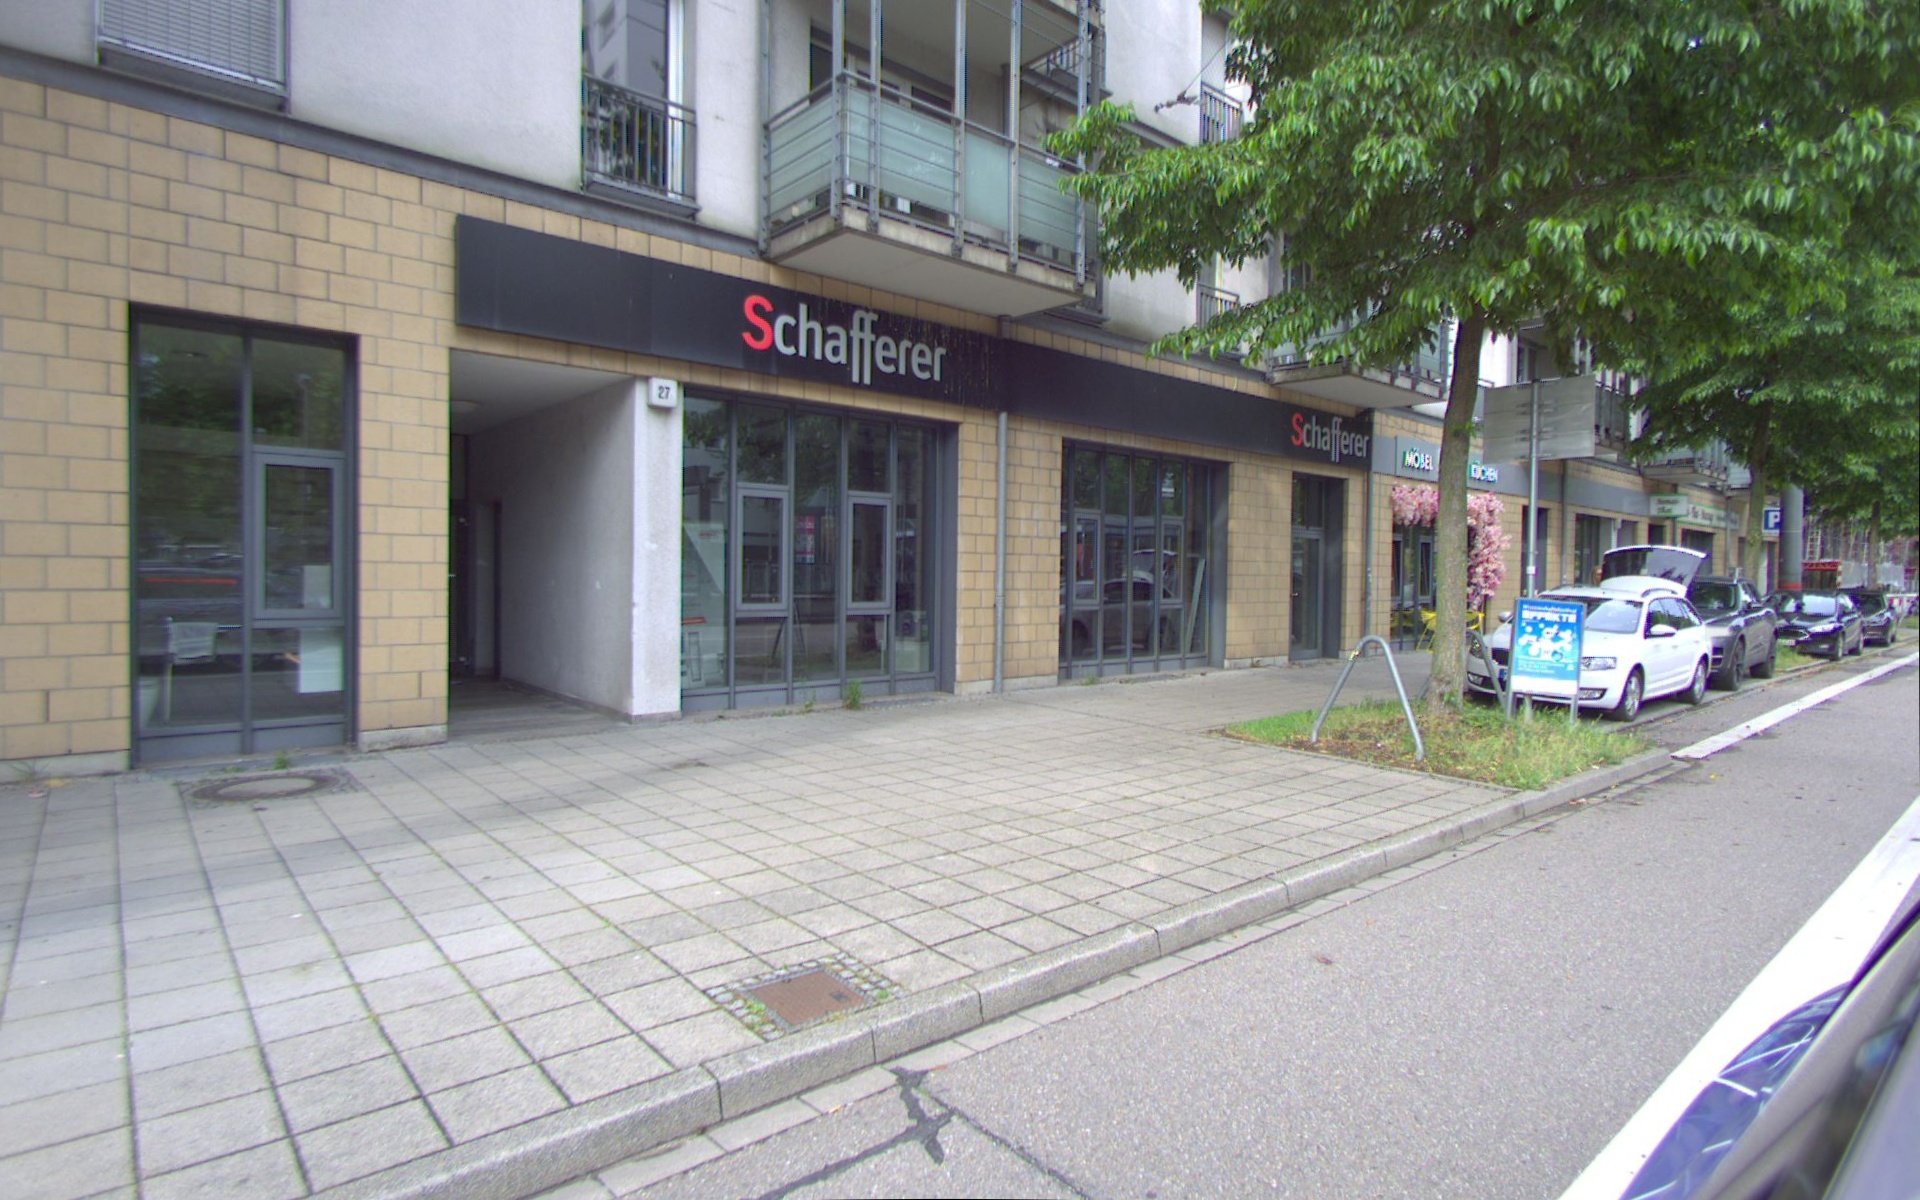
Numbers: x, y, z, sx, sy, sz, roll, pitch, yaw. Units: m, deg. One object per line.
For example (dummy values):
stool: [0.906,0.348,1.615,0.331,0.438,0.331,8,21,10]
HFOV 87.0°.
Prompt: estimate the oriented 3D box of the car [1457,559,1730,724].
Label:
car: [8.032,0.396,12.702,4.032,1.682,1.730,-1,4,-41]

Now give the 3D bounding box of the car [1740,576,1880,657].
car: [18.484,0.295,21.964,3.874,1.564,1.684,-1,3,-41]

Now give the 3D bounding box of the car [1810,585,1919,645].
car: [24.138,0.351,26.920,3.749,1.400,1.730,-1,3,-41]

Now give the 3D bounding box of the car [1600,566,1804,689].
car: [11.824,0.342,16.047,3.874,1.682,1.730,-1,3,-41]

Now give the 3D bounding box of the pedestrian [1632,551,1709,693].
pedestrian: [10.108,0.302,14.405,0.630,1.958,0.655,0,0,-26]

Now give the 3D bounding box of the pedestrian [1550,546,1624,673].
pedestrian: [9.393,0.128,15.162,0.825,1.828,0.744,0,0,-42]
